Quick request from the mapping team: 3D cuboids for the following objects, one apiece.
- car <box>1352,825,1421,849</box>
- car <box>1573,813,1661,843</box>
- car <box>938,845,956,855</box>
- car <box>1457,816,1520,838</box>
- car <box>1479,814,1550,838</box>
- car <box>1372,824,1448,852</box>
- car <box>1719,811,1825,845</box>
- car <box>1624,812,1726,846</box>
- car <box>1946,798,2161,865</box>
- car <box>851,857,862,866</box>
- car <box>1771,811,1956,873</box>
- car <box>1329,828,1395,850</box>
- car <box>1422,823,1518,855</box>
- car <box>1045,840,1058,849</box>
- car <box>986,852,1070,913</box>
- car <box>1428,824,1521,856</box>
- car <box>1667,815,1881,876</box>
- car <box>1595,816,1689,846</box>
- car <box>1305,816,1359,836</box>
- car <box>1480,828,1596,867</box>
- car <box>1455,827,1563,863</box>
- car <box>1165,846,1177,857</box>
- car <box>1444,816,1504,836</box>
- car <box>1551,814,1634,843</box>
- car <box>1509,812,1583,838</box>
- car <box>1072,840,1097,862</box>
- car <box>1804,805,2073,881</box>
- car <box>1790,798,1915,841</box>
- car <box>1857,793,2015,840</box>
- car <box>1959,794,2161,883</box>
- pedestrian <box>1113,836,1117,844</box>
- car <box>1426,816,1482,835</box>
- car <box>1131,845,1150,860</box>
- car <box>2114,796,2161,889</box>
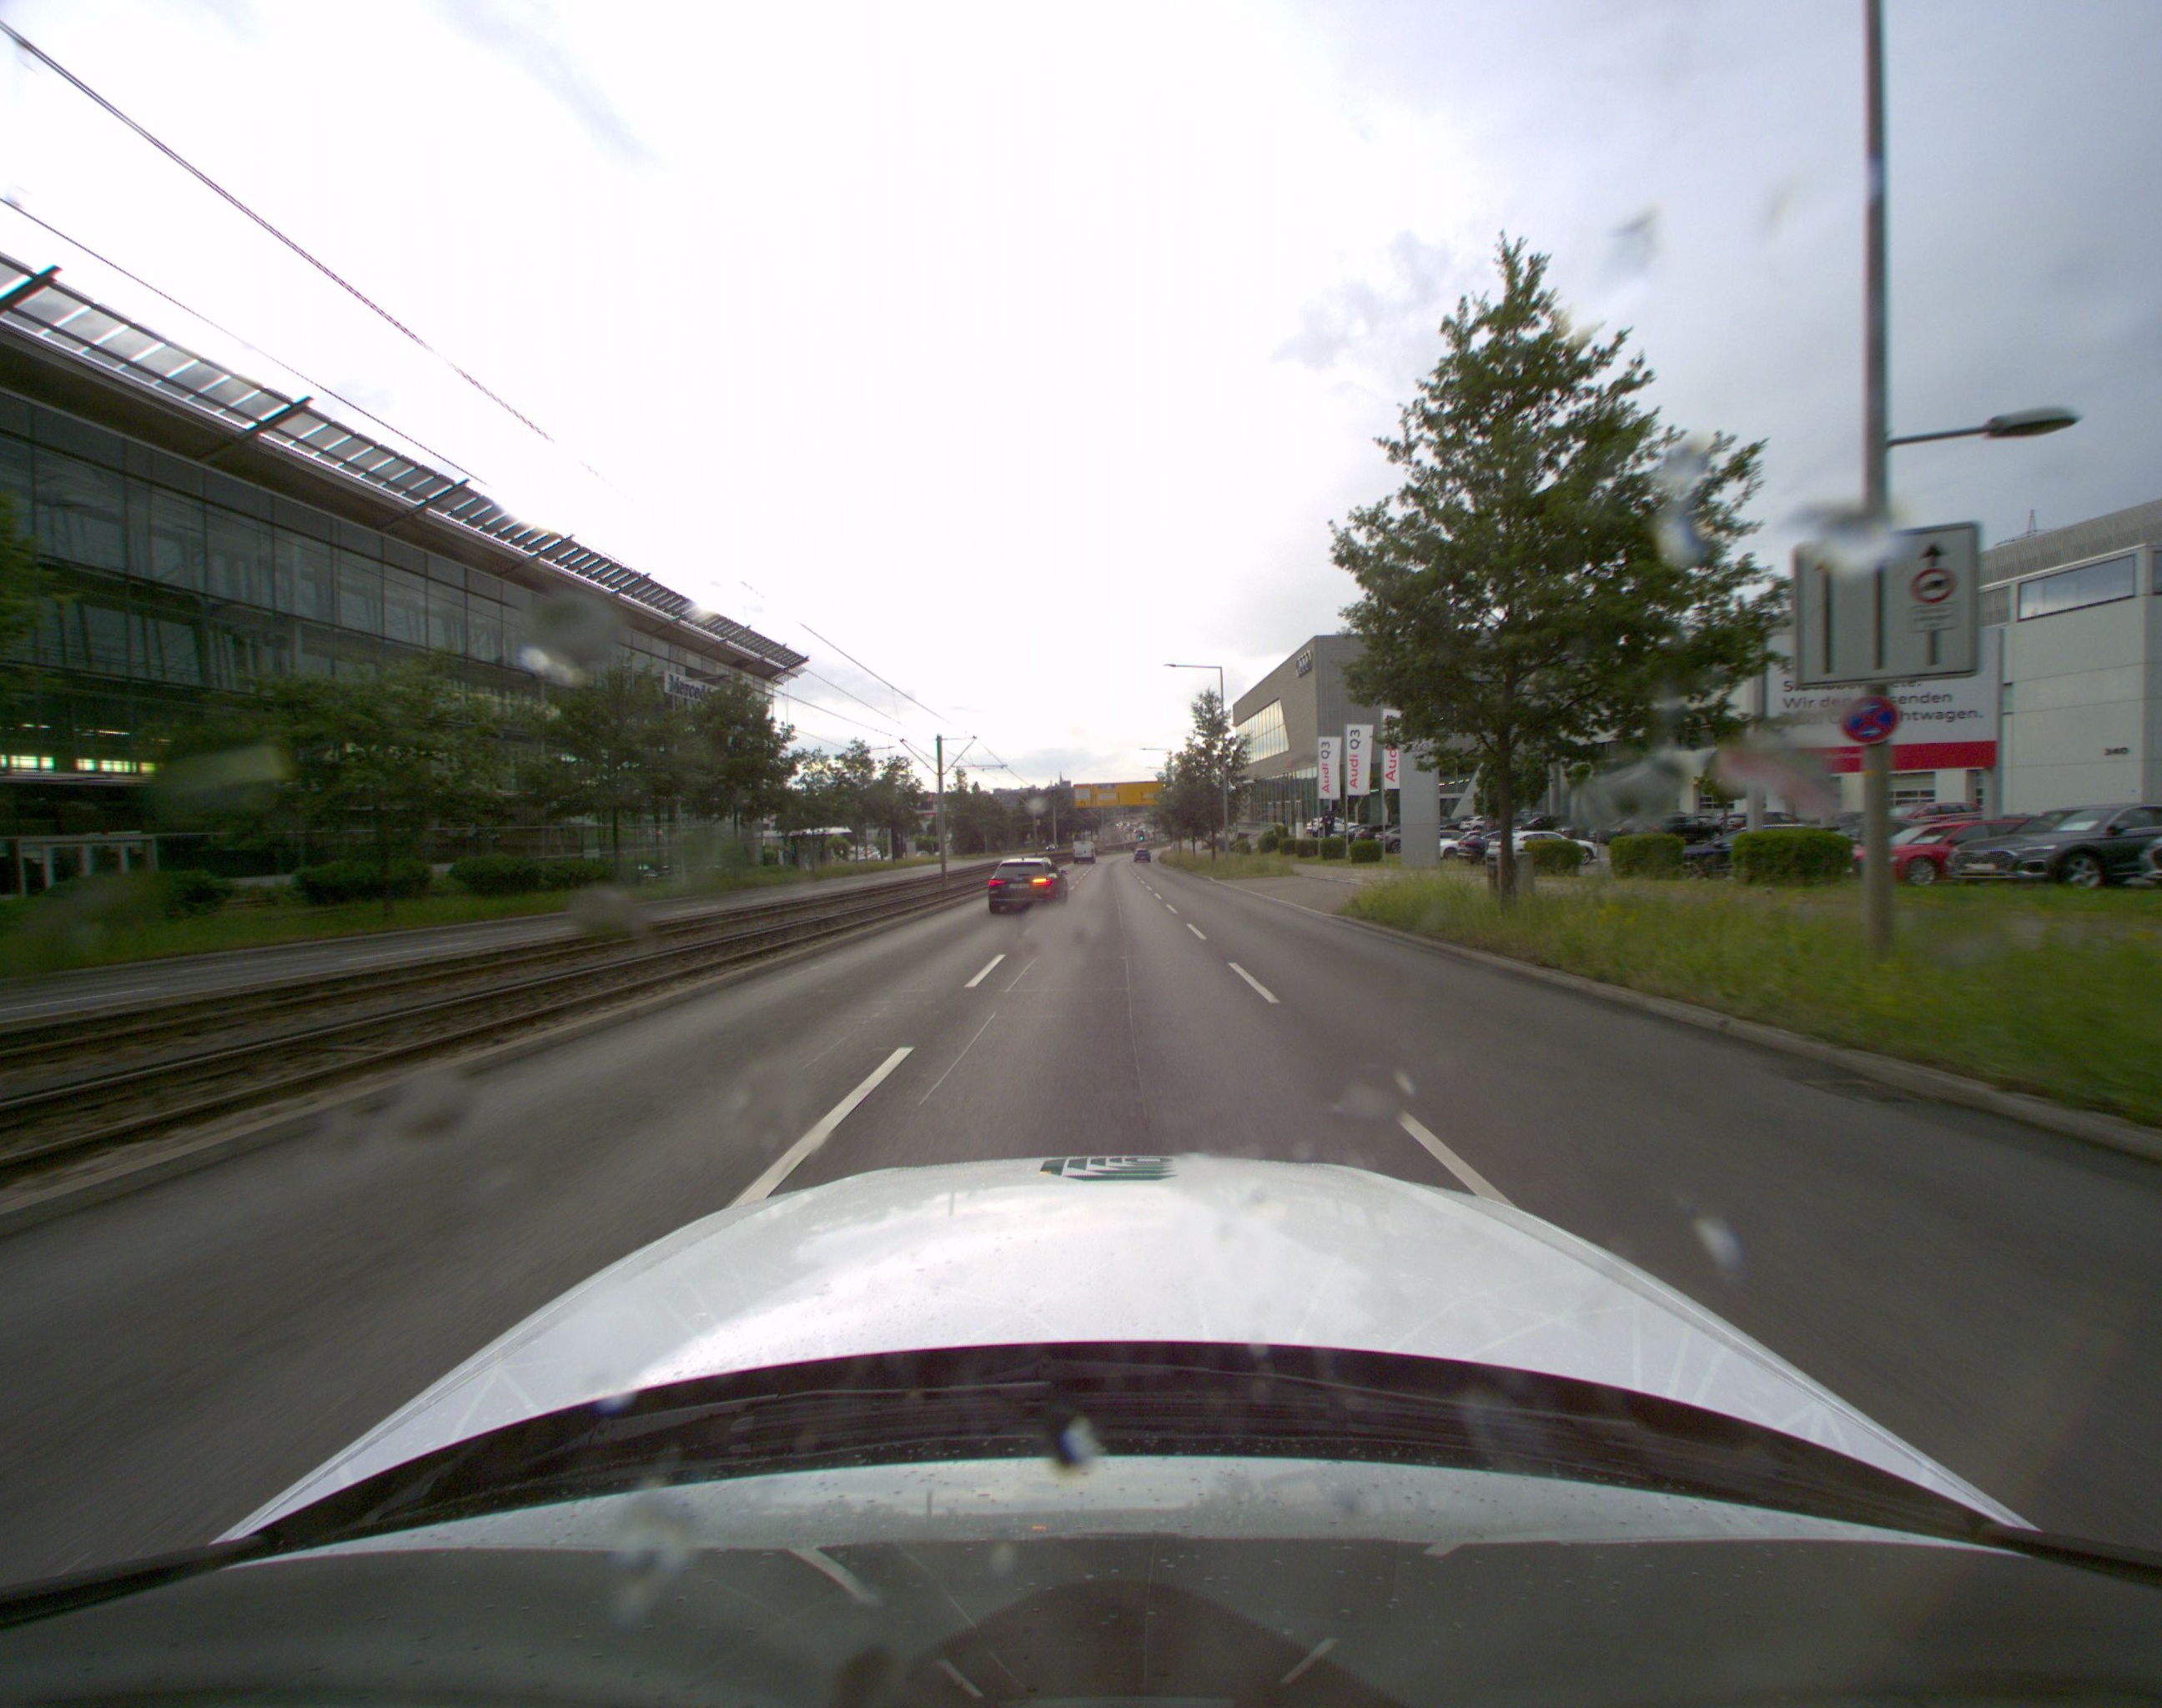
[{"bbox_3d":[20.753,-1.166,55.460,4.091,1.574,1.693,-1,1,0],"label":"car"},{"bbox_3d":[31.839,-1.537,48.422,4.091,1.574,1.693,-2,1,0],"label":"car"},{"bbox_3d":[-22.415,-0.606,136.202,1.983,1.650,4.008,0,0,7],"label":"car"},{"bbox_3d":[31.633,-2.107,63.286,4.091,1.574,1.693,-1,1,0],"label":"car"},{"bbox_3d":[30.961,-1.975,58.204,4.091,1.574,1.826,-1,1,0],"label":"car"},{"bbox_3d":[20.384,-0.998,50.565,4.091,1.608,1.693,-1,1,0],"label":"car"},{"bbox_3d":[36.336,-1.352,42.867,4.090,1.574,1.693,-2,0,1],"label":"car"},{"bbox_3d":[31.124,-1.292,42.753,4.091,1.574,1.692,-1,-1,0],"label":"car"},{"bbox_3d":[27.182,-0.583,22.646,1.778,1.593,3.955,-4,1,-30],"label":"car"},{"bbox_3d":[-39.968,1.344,144.832,1.757,1.494,3.974,0,0,-19],"label":"car"},{"bbox_3d":[22.858,-0.305,23.912,1.778,1.593,3.527,-4,1,-30],"label":"car"},{"bbox_3d":[20.928,-1.134,60.777,4.405,1.574,1.693,-1,1,0],"label":"car"},{"bbox_3d":[21.575,-0.823,45.303,4.504,1.594,1.692,-2,-1,0],"label":"car"},{"bbox_3d":[-5.757,-1.812,159.616,1.874,1.520,4.409,-4,1,4],"label":"car"},{"bbox_3d":[-1.351,0.713,22.638,1.757,1.463,4.630,-1,0,3],"label":"car"},{"bbox_3d":[20.742,-0.726,43.057,4.091,1.594,1.692,-1,-1,0],"label":"car"},{"bbox_3d":[19.865,-0.198,23.565,1.843,1.593,4.319,-2,-1,-29],"label":"car"},{"bbox_3d":[31.185,-1.264,45.345,4.091,1.574,1.693,-1,0,0],"label":"car"},{"bbox_3d":[21.857,-2.437,71.000,4.244,1.574,1.693,-1,1,0],"label":"car"},{"bbox_3d":[20.126,-0.264,35.941,4.101,1.594,1.944,-1,-1,-7],"label":"car"},{"bbox_3d":[20.112,-0.400,38.383,4.091,1.594,1.871,-1,-1,0],"label":"car"},{"bbox_3d":[15.719,-0.434,141.971,2.012,1.769,4.007,-1,3,5],"label":"car"},{"bbox_3d":[32.194,-2.301,66.721,4.091,1.574,1.760,-1,1,0],"label":"car"},{"bbox_3d":[31.643,-1.572,50.447,4.091,1.574,1.693,-2,0,0],"label":"car"},{"bbox_3d":[31.461,-1.936,55.165,4.091,1.574,1.693,-2,1,0],"label":"car"},{"bbox_3d":[0.298,-0.276,84.400,2.503,2.177,5.148,0,0,0],"label":"car"},{"bbox_3d":[20.073,-0.254,19.196,4.451,1.551,1.929,-2,-1,-3],"label":"car"},{"bbox_3d":[36.274,-1.594,38.377,3.971,1.876,2.001,-1,1,2],"label":"car"},{"bbox_3d":[36.918,-1.575,35.270,4.505,1.855,2.003,-1,0,5],"label":"car"},{"bbox_3d":[20.540,-0.327,16.159,4.264,1.593,1.826,-2,-1,-1],"label":"car"},{"bbox_3d":[7.813,-3.260,187.185,0.632,1.854,0.753,0,-1,13],"label":"pedestrian"},{"bbox_3d":[32.517,-2.464,71.091,4.091,1.574,1.693,-1,1,0],"label":"car"},{"bbox_3d":[6.446,-0.136,88.821,2.012,1.623,4.004,0,0,4],"label":"car"},{"bbox_3d":[20.291,-0.301,13.246,4.446,1.551,1.931,-3,-1,0],"label":"car"}]
